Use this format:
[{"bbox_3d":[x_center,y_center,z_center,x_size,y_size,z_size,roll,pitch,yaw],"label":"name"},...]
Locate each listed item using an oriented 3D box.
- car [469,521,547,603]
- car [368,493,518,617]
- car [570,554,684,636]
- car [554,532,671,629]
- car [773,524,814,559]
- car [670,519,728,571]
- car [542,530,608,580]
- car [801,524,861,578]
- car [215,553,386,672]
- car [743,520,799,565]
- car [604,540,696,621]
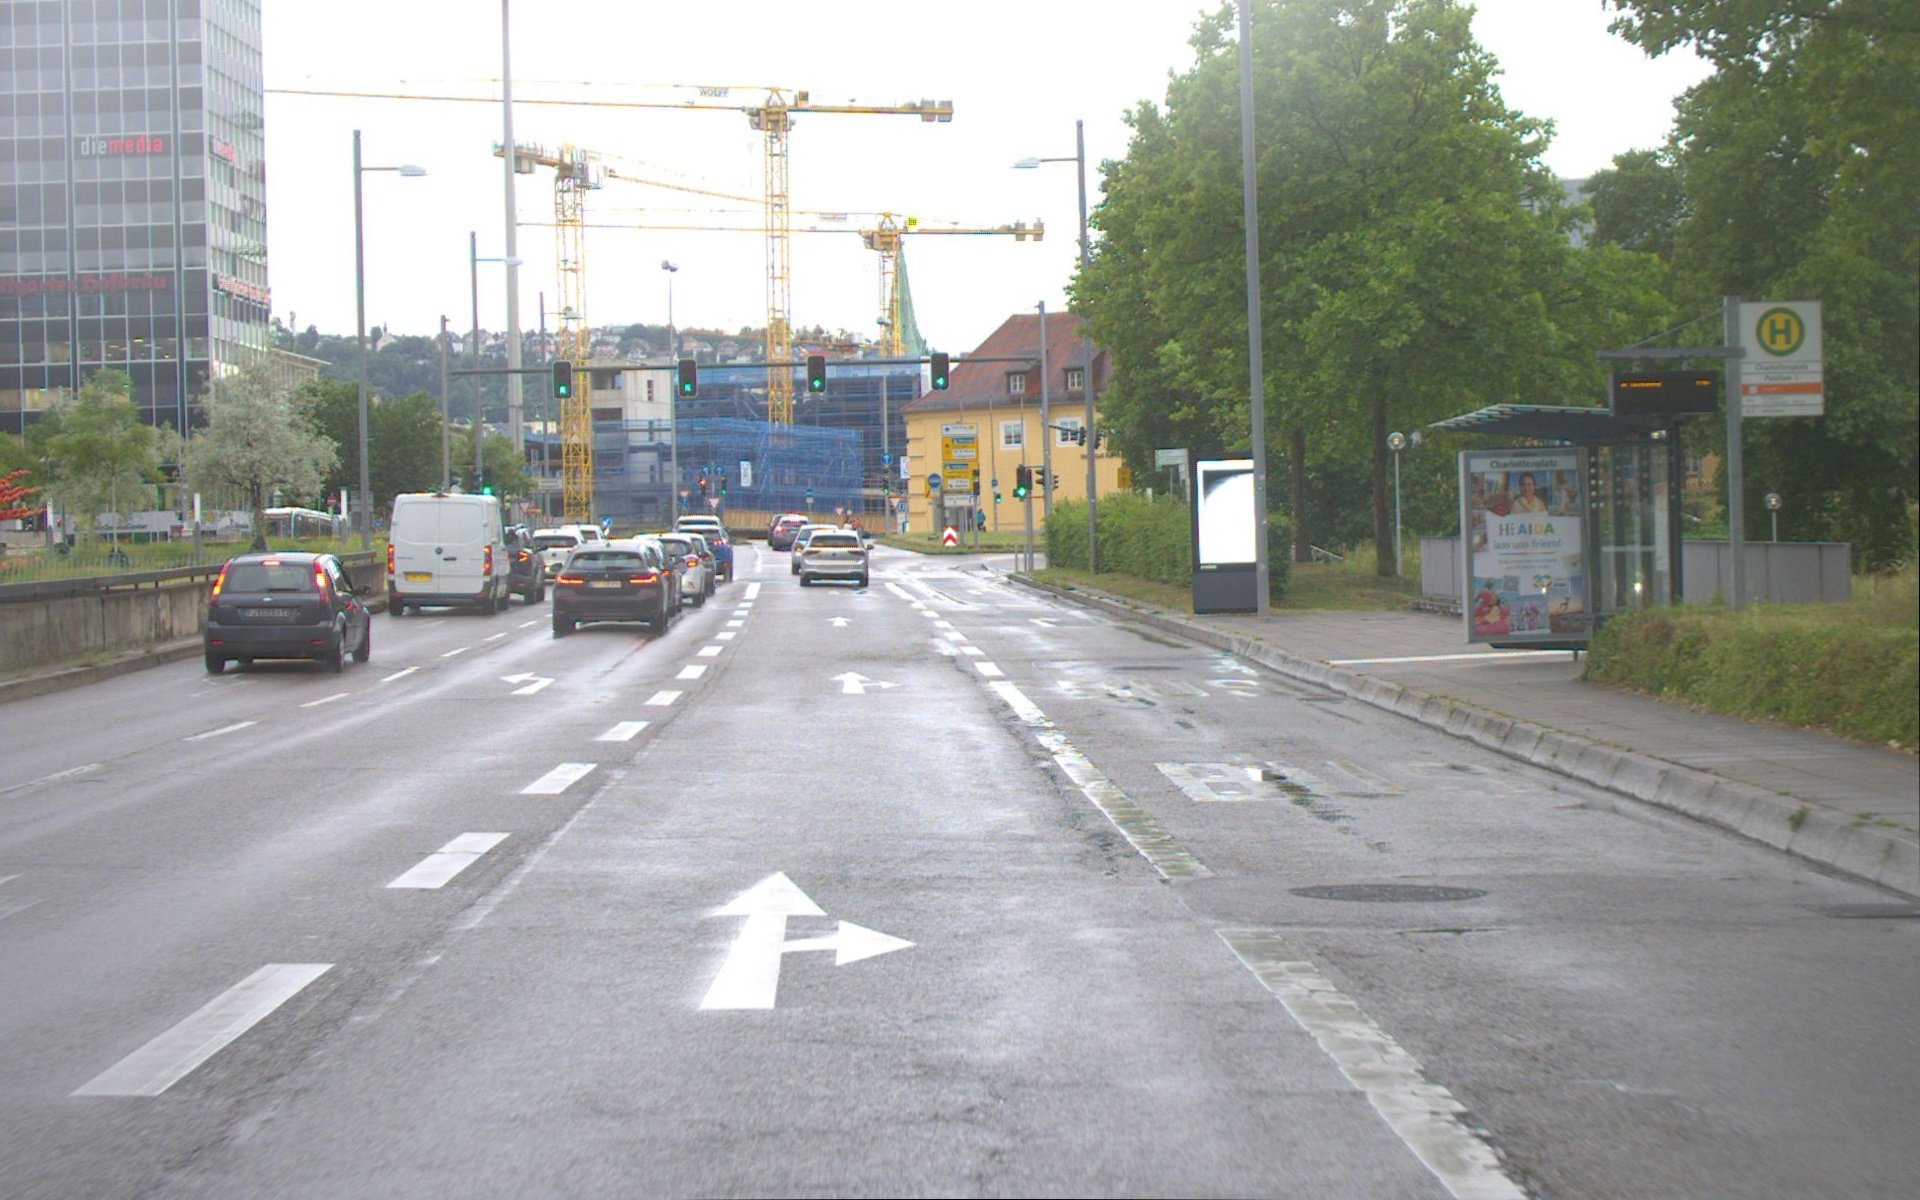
[{"bbox_3d":[-9.585,-0.794,73.047,1.464,1.700,3.142,0,0,-4],"label":"car"},{"bbox_3d":[-9.943,-0.837,66.451,2.292,2.306,5.006,0,0,-2],"label":"car"},{"bbox_3d":[-6.221,-0.094,64.542,1.830,1.489,3.399,0,0,0],"label":"car"},{"bbox_3d":[-5.679,-0.349,56.501,1.753,1.466,4.223,0,2,-4],"label":"car"},{"bbox_3d":[-4.888,-1.721,101.177,1.076,0.987,1.971,0,-1,1],"label":"car"},{"bbox_3d":[-7.108,-1.490,93.790,1.493,1.365,3.033,0,0,-3],"label":"car"},{"bbox_3d":[-10.021,-1.164,89.572,1.551,1.256,2.580,0,0,-3],"label":"car"},{"bbox_3d":[-3.303,-1.238,88.276,1.444,1.354,2.412,0,0,1],"label":"car"},{"bbox_3d":[-8.138,0.143,42.664,1.542,1.410,3.902,0,0,-3],"label":"car"},{"bbox_3d":[-8.209,-2.495,149.514,2.161,1.873,3.770,0,0,1],"label":"car"},{"bbox_3d":[-6.464,-0.388,71.720,1.880,1.647,3.458,0,0,-5],"label":"car"}]
